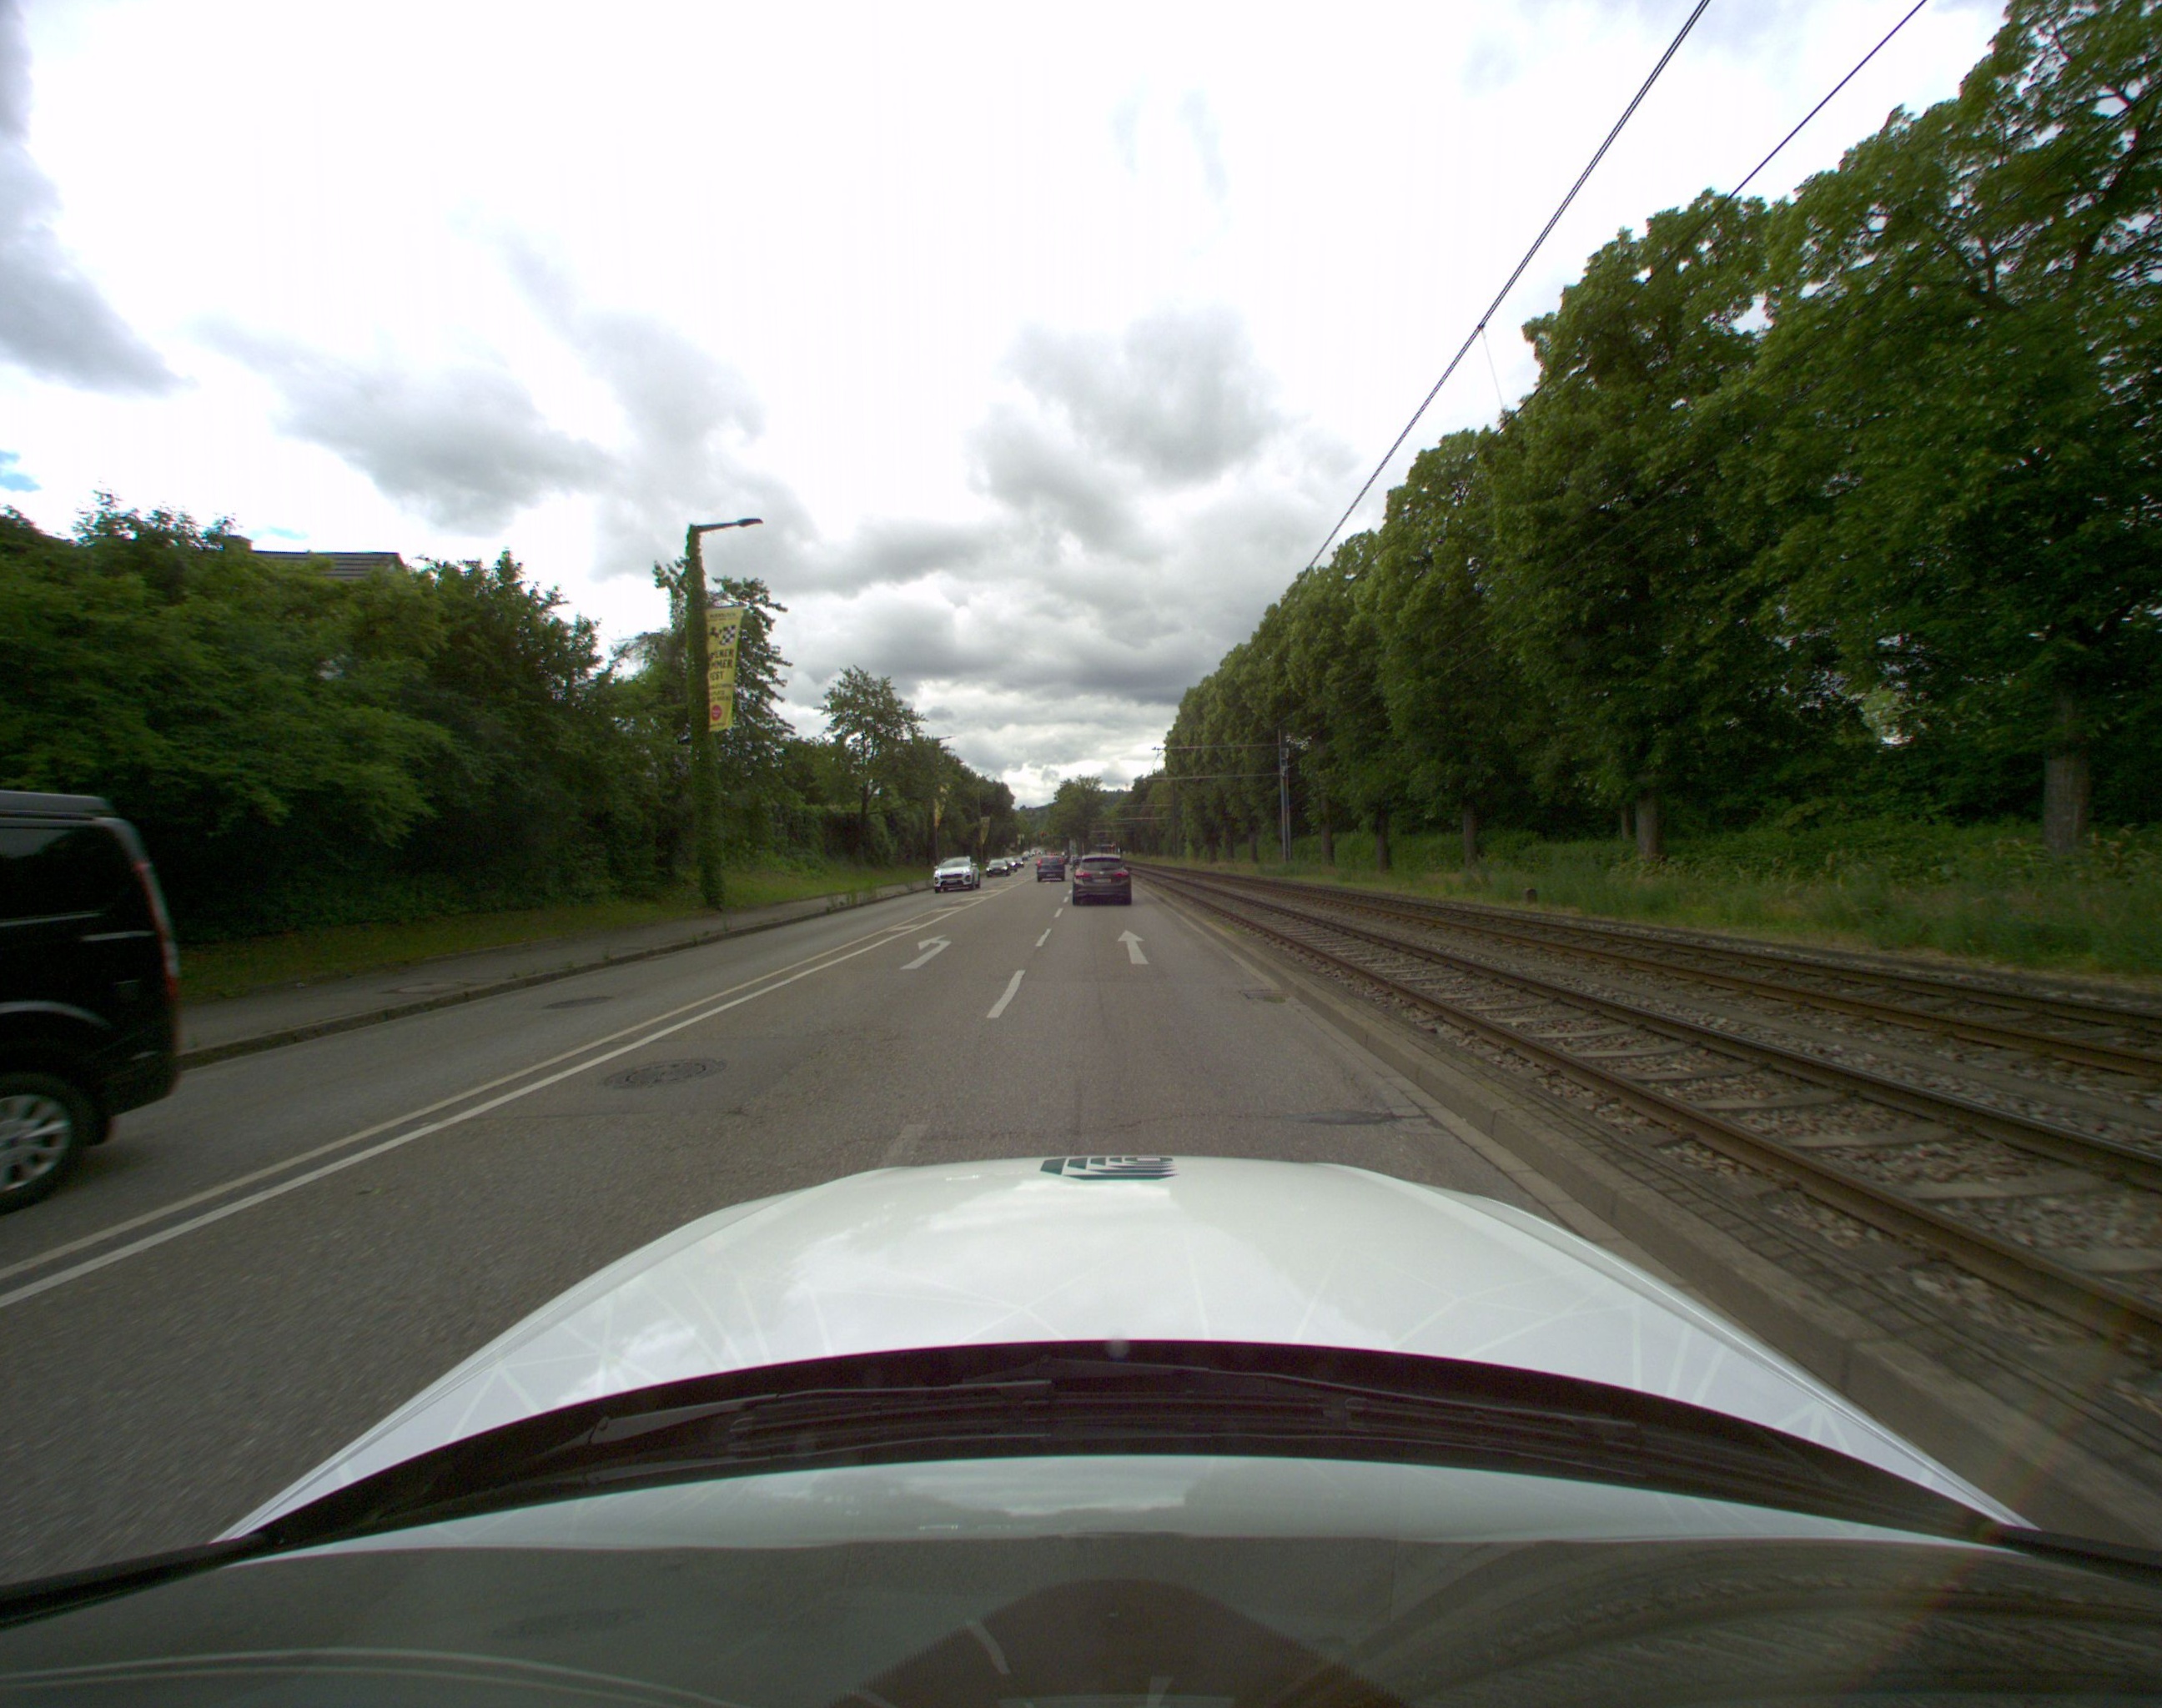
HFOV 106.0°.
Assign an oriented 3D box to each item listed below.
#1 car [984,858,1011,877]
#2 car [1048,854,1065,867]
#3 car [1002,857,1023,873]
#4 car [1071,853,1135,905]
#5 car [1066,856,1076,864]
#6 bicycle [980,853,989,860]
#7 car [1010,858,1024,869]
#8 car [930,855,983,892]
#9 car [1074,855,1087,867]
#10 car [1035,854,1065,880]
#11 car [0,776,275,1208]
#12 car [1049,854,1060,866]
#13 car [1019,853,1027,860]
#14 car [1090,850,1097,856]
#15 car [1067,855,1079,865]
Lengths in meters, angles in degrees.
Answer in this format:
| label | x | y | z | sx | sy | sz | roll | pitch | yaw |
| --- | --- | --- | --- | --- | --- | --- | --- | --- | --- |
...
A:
| label | x | y | z | sx | sy | sz | roll | pitch | yaw |
| --- | --- | --- | --- | --- | --- | --- | --- | --- | --- |
| car | -6.825 | 1.059 | 66.915 | 1.761 | 1.400 | 4.214 | -4 | 0 | -1 |
| car | -2.777 | 0.770 | 93.405 | 1.709 | 1.435 | 4.000 | -1 | 0 | 0 |
| car | -7.068 | 1.101 | 84.395 | 1.821 | 1.457 | 4.140 | -4 | 0 | -1 |
| car | 0.687 | 0.721 | 25.580 | 1.844 | 1.493 | 4.001 | -1 | 0 | 1 |
| car | -1.870 | 1.116 | 148.052 | 1.709 | 1.550 | 3.999 | -1 | -1 | 0 |
| bicycle | -16.739 | 0.466 | 141.301 | 0.494 | 1.107 | 1.811 | -1 | 0 | 30 |
| car | -9.125 | 1.376 | 116.024 | 1.837 | 1.375 | 4.442 | -4 | 0 | -4 |
| car | -5.999 | 0.917 | 39.694 | 1.836 | 1.620 | 4.158 | -3 | 0 | 0 |
| car | -0.047 | 0.887 | 106.519 | 1.709 | 1.550 | 3.999 | -1 | -1 | 0 |
| car | -1.817 | 0.763 | 48.075 | 1.695 | 1.443 | 3.997 | -1 | 0 | -2 |
| car | -6.112 | 0.699 | 2.549 | 1.987 | 2.036 | 5.114 | -3 | 0 | 0 |
| car | -4.374 | 0.932 | 132.907 | 1.711 | 1.864 | 3.996 | -1 | -1 | -2 |
| car | -14.434 | 0.674 | 202.593 | 1.711 | 1.760 | 3.997 | -1 | -1 | -2 |
| car | 3.236 | -0.308 | 216.228 | 1.711 | 1.663 | 3.704 | -1 | -1 | -2 |
| car | -1.251 | 0.917 | 126.061 | 1.709 | 1.550 | 3.999 | -1 | -1 | 0 |
